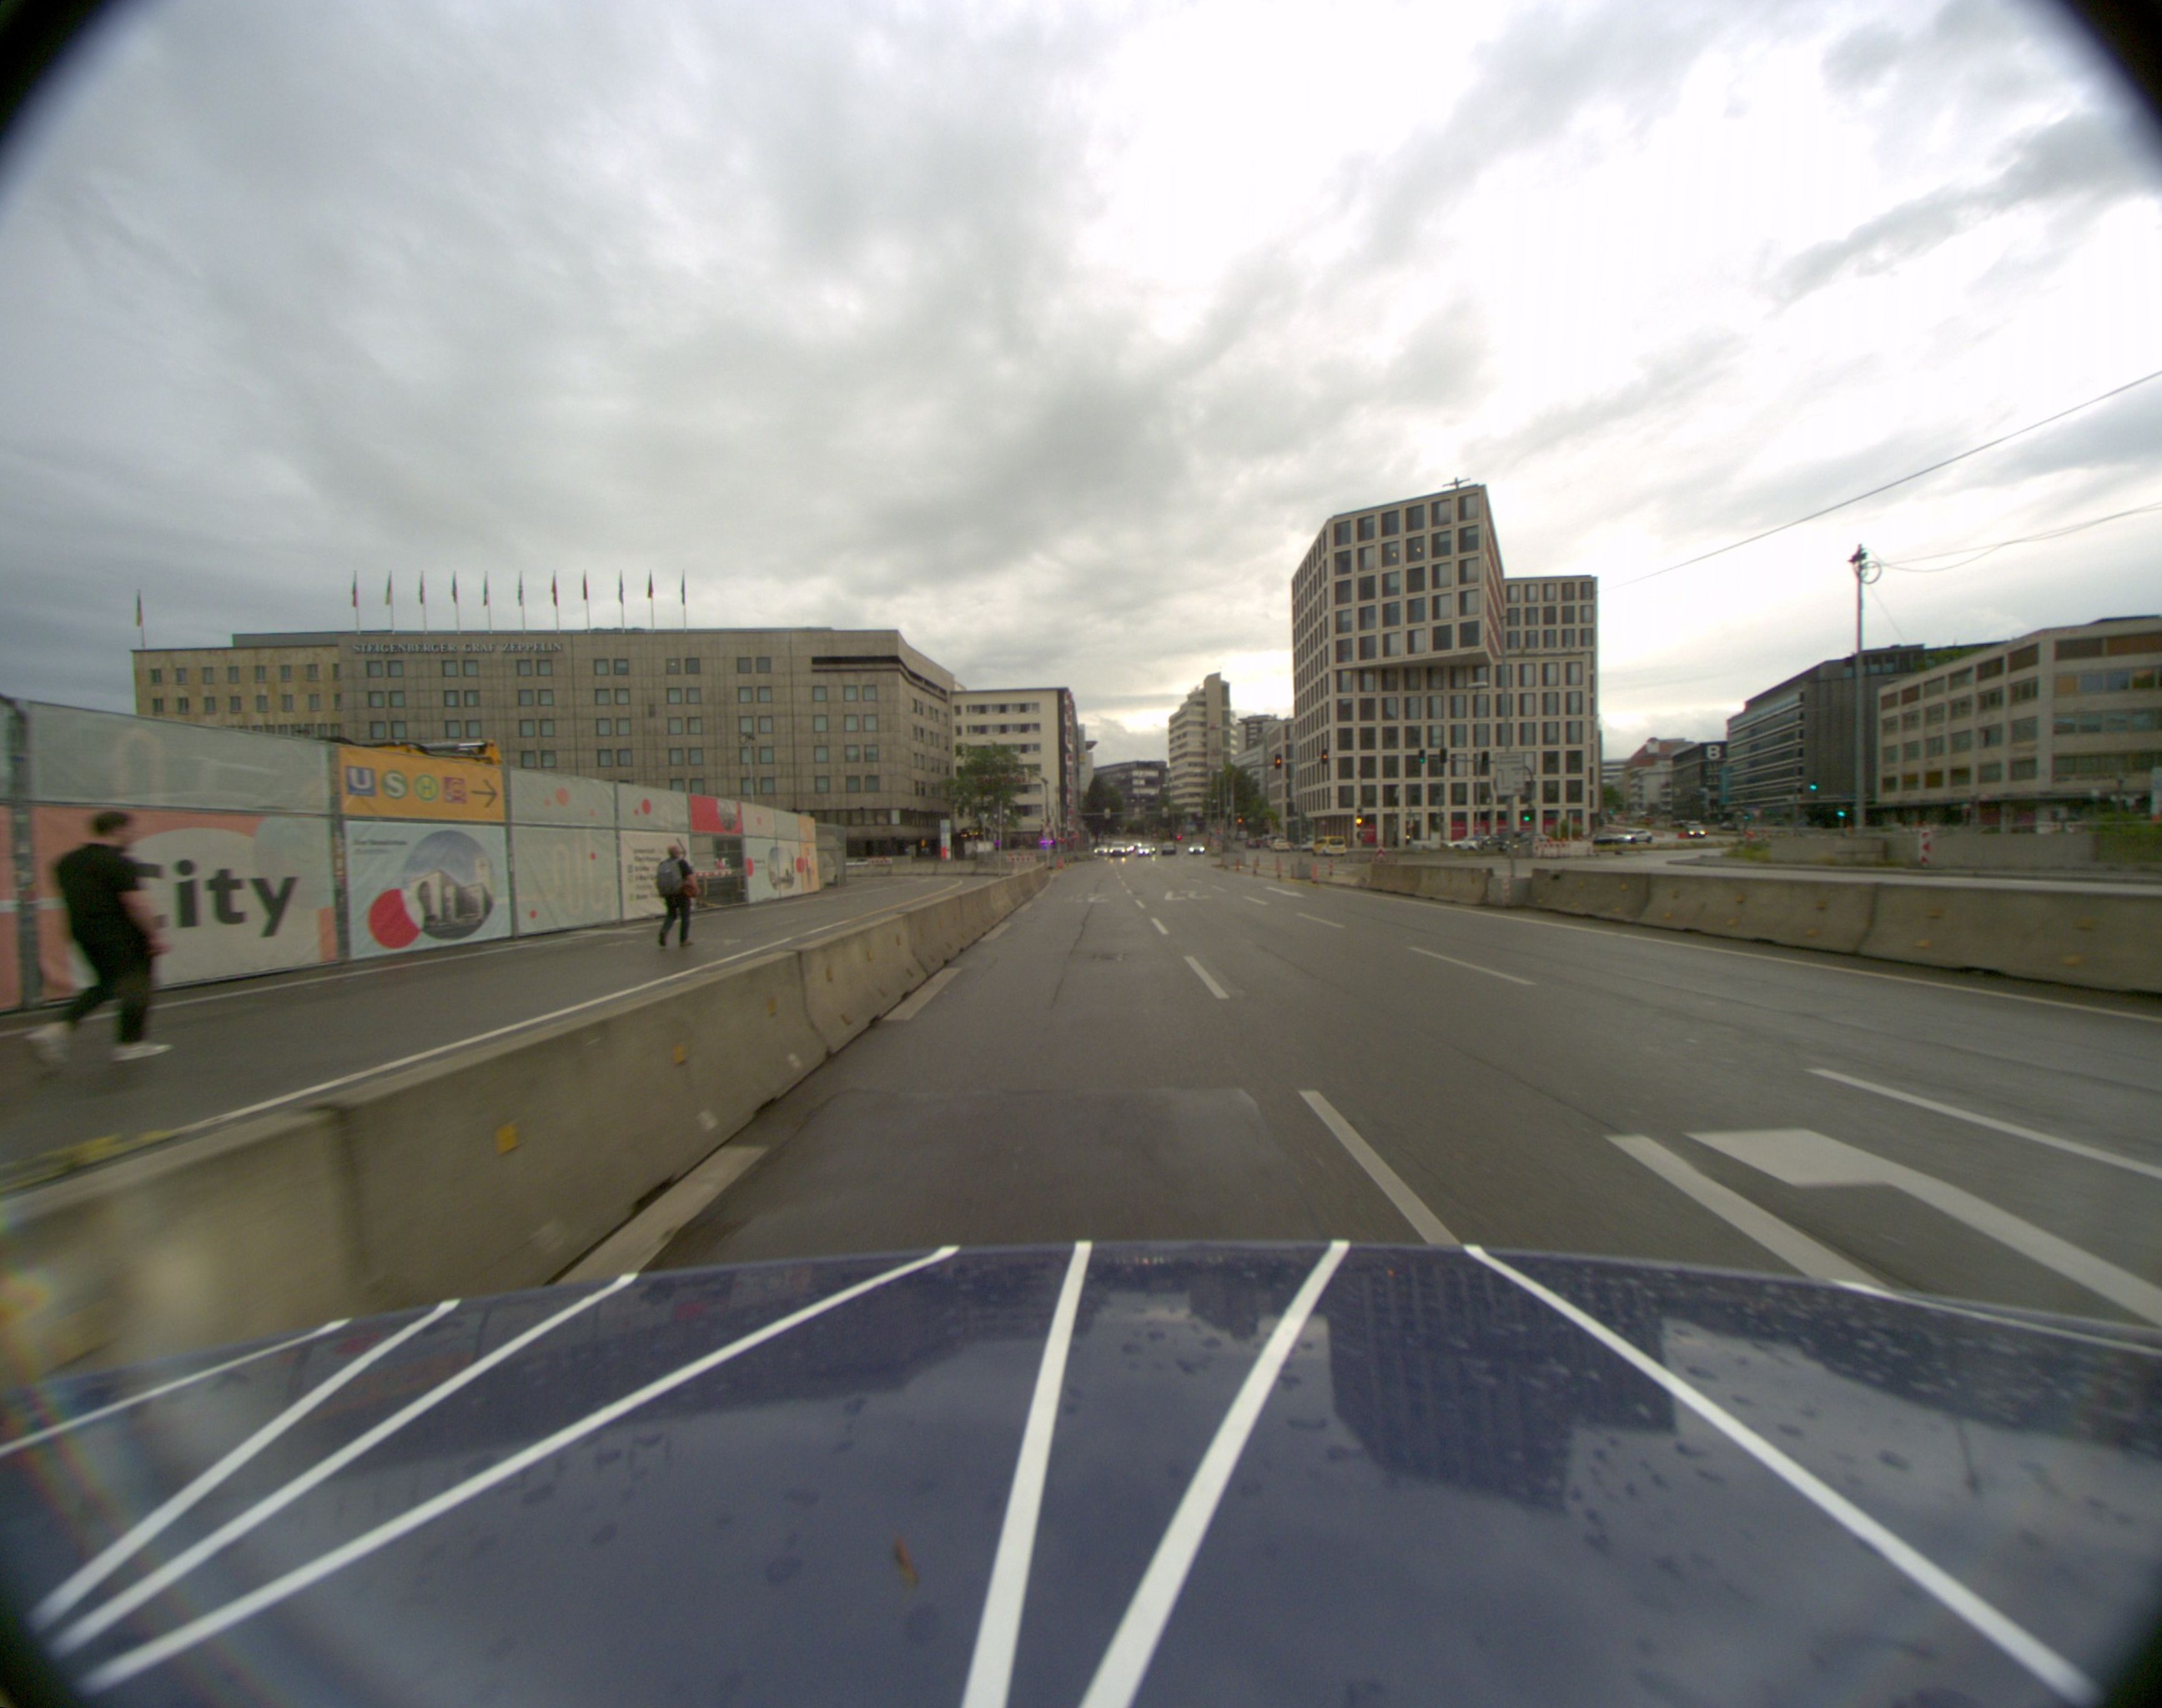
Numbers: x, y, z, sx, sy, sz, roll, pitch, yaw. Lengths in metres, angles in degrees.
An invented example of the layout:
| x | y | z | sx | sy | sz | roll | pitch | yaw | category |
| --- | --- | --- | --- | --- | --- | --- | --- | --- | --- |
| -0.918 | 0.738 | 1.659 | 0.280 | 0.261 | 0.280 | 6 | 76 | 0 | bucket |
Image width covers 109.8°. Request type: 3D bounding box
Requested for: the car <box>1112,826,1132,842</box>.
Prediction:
| x | y | z | sx | sy | sz | roll | pitch | yaw | category |
| --- | --- | --- | --- | --- | --- | --- | --- | --- | --- |
| 5.333 | -2.543 | 97.573 | 2.084 | 1.894 | 5.086 | -2 | 2 | 8 | car |

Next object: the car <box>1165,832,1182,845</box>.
| x | y | z | sx | sy | sz | roll | pitch | yaw | category |
| --- | --- | --- | --- | --- | --- | --- | --- | --- | --- |
| 11.660 | -1.977 | 96.151 | 2.016 | 1.589 | 4.663 | -2 | 2 | 6 | car |

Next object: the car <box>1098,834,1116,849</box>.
| x | y | z | sx | sy | sz | roll | pitch | yaw | category |
| --- | --- | --- | --- | --- | --- | --- | --- | --- | --- |
| 3.692 | -1.745 | 105.939 | 1.921 | 2.002 | 4.001 | -2 | 2 | 9 | car |

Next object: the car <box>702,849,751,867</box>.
| x | y | z | sx | sy | sz | roll | pitch | yaw | category |
| --- | --- | --- | --- | --- | --- | --- | --- | --- | --- |
| -38.373 | 0.435 | 82.377 | 4.369 | 1.753 | 1.779 | -2 | 2 | -2 | car |

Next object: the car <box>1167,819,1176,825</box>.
| x | y | z | sx | sy | sz | roll | pitch | yaw | category |
| --- | --- | --- | --- | --- | --- | --- | --- | --- | --- |
| 24.738 | -8.786 | 207.824 | 1.850 | 1.589 | 4.179 | -2 | 2 | 0 | car |

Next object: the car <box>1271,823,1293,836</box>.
| x | y | z | sx | sy | sz | roll | pitch | yaw | category |
| --- | --- | --- | --- | --- | --- | --- | --- | --- | --- |
| 25.639 | -3.144 | 97.150 | 1.846 | 1.664 | 4.380 | -2 | 2 | 4 | car |

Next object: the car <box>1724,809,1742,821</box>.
| x | y | z | sx | sy | sz | roll | pitch | yaw | category |
| --- | --- | --- | --- | --- | --- | --- | --- | --- | --- |
| 111.438 | -6.679 | 129.943 | 1.994 | 2.002 | 4.007 | 0 | 2 | 36 | car |

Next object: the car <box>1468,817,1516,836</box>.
| x | y | z | sx | sy | sz | roll | pitch | yaw | category |
| --- | --- | --- | --- | --- | --- | --- | --- | --- | --- |
| 42.693 | -2.857 | 78.938 | 3.996 | 1.806 | 1.805 | -2 | 3 | 3 | car |

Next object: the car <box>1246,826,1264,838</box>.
| x | y | z | sx | sy | sz | roll | pitch | yaw | category |
| --- | --- | --- | --- | --- | --- | --- | --- | --- | --- |
| 26.602 | -3.379 | 116.199 | 1.850 | 1.589 | 4.179 | -2 | 2 | 0 | car |

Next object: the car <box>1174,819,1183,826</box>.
| x | y | z | sx | sy | sz | roll | pitch | yaw | category |
| --- | --- | --- | --- | --- | --- | --- | --- | --- | --- |
| 25.623 | -8.307 | 199.502 | 1.850 | 1.589 | 4.179 | -2 | 2 | 0 | car |

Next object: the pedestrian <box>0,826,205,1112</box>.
| x | y | z | sx | sy | sz | roll | pitch | yaw | category |
| --- | --- | --- | --- | --- | --- | --- | --- | --- | --- |
| -7.120 | 0.751 | 5.361 | 0.798 | 1.867 | 0.820 | -2 | 2 | 2 | pedestrian |

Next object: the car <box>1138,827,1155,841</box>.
| x | y | z | sx | sy | sz | roll | pitch | yaw | category |
| --- | --- | --- | --- | --- | --- | --- | --- | --- | --- |
| 8.269 | -2.547 | 95.965 | 2.016 | 1.729 | 4.663 | -2 | 2 | 6 | car |

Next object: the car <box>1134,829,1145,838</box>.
| x | y | z | sx | sy | sz | roll | pitch | yaw | category |
| --- | --- | --- | --- | --- | --- | --- | --- | --- | --- |
| 9.713 | -3.381 | 125.621 | 1.671 | 1.475 | 3.485 | -2 | 2 | 5 | car |

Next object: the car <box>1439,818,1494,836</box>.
| x | y | z | sx | sy | sz | roll | pitch | yaw | category |
| --- | --- | --- | --- | --- | --- | --- | --- | --- | --- |
| 41.876 | -2.907 | 82.554 | 4.809 | 1.743 | 2.229 | -2 | 2 | 0 | car |

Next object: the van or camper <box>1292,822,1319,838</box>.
| x | y | z | sx | sy | sz | roll | pitch | yaw | category |
| --- | --- | --- | --- | --- | --- | --- | --- | --- | --- |
| 28.526 | -3.062 | 96.866 | 1.886 | 1.883 | 5.210 | -2 | 2 | 0 | van or camper |

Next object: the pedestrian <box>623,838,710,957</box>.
| x | y | z | sx | sy | sz | roll | pitch | yaw | category |
| --- | --- | --- | --- | --- | --- | --- | --- | --- | --- |
| -6.586 | 0.666 | 12.111 | 0.927 | 1.823 | 0.686 | -2 | 2 | 2 | pedestrian |

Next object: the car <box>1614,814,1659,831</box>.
| x | y | z | sx | sy | sz | roll | pitch | yaw | category |
| --- | --- | --- | --- | --- | --- | --- | --- | --- | --- |
| 60.129 | -3.363 | 82.296 | 4.133 | 1.706 | 1.854 | -2 | 2 | -17 | car |

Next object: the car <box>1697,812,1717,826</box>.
| x | y | z | sx | sy | sz | roll | pitch | yaw | category |
| --- | --- | --- | --- | --- | --- | --- | --- | --- | --- |
| 79.515 | -4.487 | 96.576 | 1.852 | 1.706 | 4.139 | 0 | 2 | 38 | car |

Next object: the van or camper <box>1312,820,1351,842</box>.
| x | y | z | sx | sy | sz | roll | pitch | yaw | category |
| --- | --- | --- | --- | --- | --- | --- | --- | --- | --- |
| 24.706 | -2.308 | 75.219 | 2.244 | 2.043 | 5.607 | -2 | 2 | 4 | van or camper |

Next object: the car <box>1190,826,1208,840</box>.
| x | y | z | sx | sy | sz | roll | pitch | yaw | category |
| --- | --- | --- | --- | --- | --- | --- | --- | --- | --- |
| 14.911 | -2.698 | 95.771 | 2.015 | 1.589 | 4.665 | -2 | 2 | 10 | car |

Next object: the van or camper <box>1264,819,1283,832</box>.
| x | y | z | sx | sy | sz | roll | pitch | yaw | category |
| --- | --- | --- | --- | --- | --- | --- | --- | --- | --- |
| 30.099 | -4.415 | 119.174 | 1.850 | 1.968 | 4.254 | -2 | 2 | 0 | van or camper |

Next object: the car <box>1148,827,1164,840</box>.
| x | y | z | sx | sy | sz | roll | pitch | yaw | category |
| --- | --- | --- | --- | --- | --- | --- | --- | --- | --- |
| 10.054 | -2.734 | 101.658 | 2.016 | 1.589 | 4.663 | -2 | 2 | 6 | car |

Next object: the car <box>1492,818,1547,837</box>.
| x | y | z | sx | sy | sz | roll | pitch | yaw | category |
| --- | --- | --- | --- | --- | --- | --- | --- | --- | --- |
| 39.780 | -2.395 | 68.908 | 3.999 | 1.478 | 1.834 | -3 | 2 | -7 | car |
